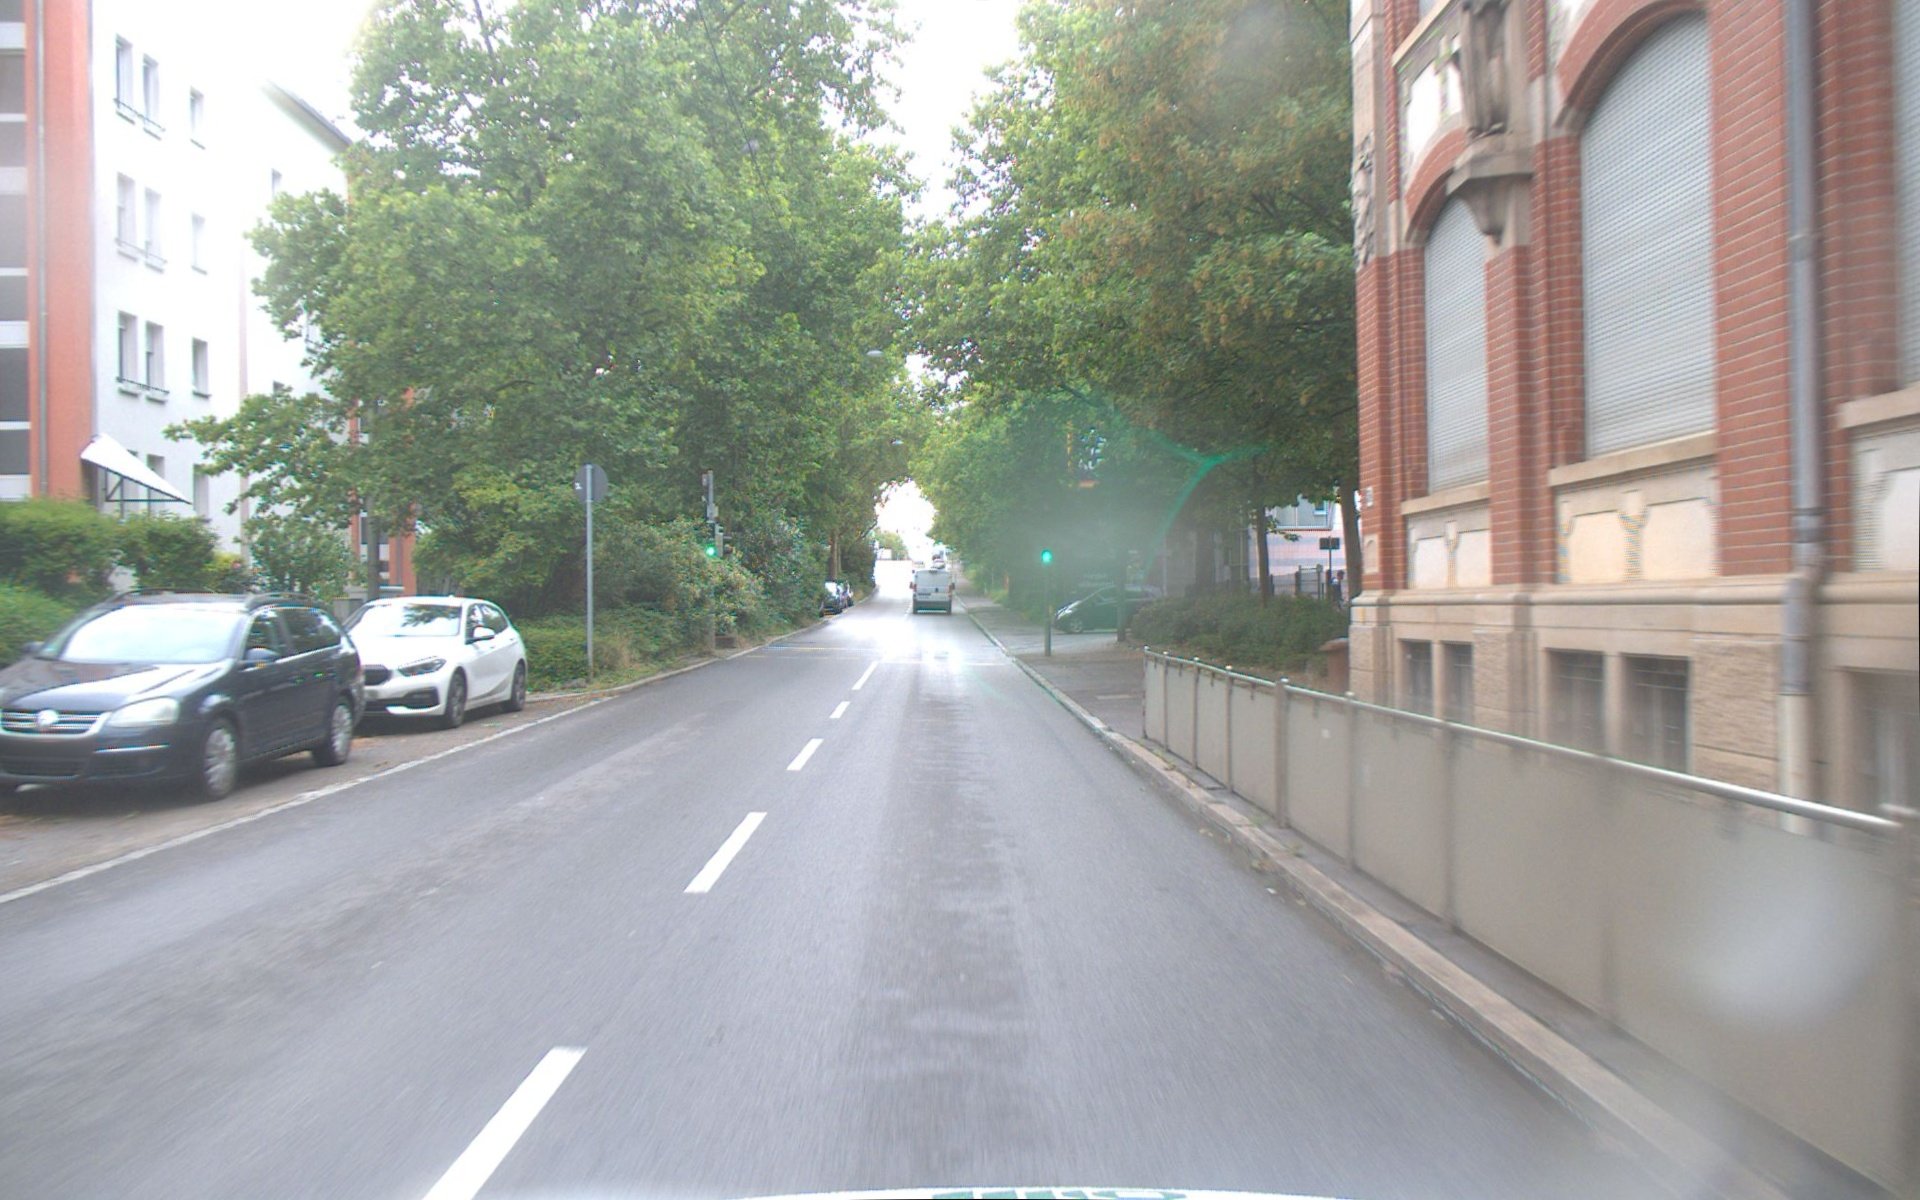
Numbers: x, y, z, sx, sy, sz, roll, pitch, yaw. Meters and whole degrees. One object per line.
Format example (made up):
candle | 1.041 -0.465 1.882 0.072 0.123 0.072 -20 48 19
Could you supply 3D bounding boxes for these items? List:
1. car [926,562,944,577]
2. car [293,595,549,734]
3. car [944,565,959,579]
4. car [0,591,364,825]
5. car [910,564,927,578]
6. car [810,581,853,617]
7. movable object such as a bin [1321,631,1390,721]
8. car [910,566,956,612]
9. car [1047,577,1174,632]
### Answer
car | -3.338 -4.061 221.168 2.103 1.739 3.874 1 -1 3
car | -6.339 0.691 19.962 1.681 1.493 4.309 0 0 0
car | -1.182 -3.885 229.549 1.890 1.739 3.874 1 -1 3
car | -6.084 0.689 12.695 1.682 1.493 4.231 0 0 -3
car | -5.780 -3.996 229.956 2.114 1.739 3.874 1 -1 3
car | -6.339 -0.065 82.051 1.827 1.619 4.238 -3 1 -2
movable object such as a bin | 4.371 0.836 18.308 0.578 0.949 0.572 -2 0 -2
car | -1.368 -0.541 85.721 2.288 2.270 3.999 -1 0 -1
car | 4.918 0.146 54.487 3.776 1.574 2.023 -3 1 -7
